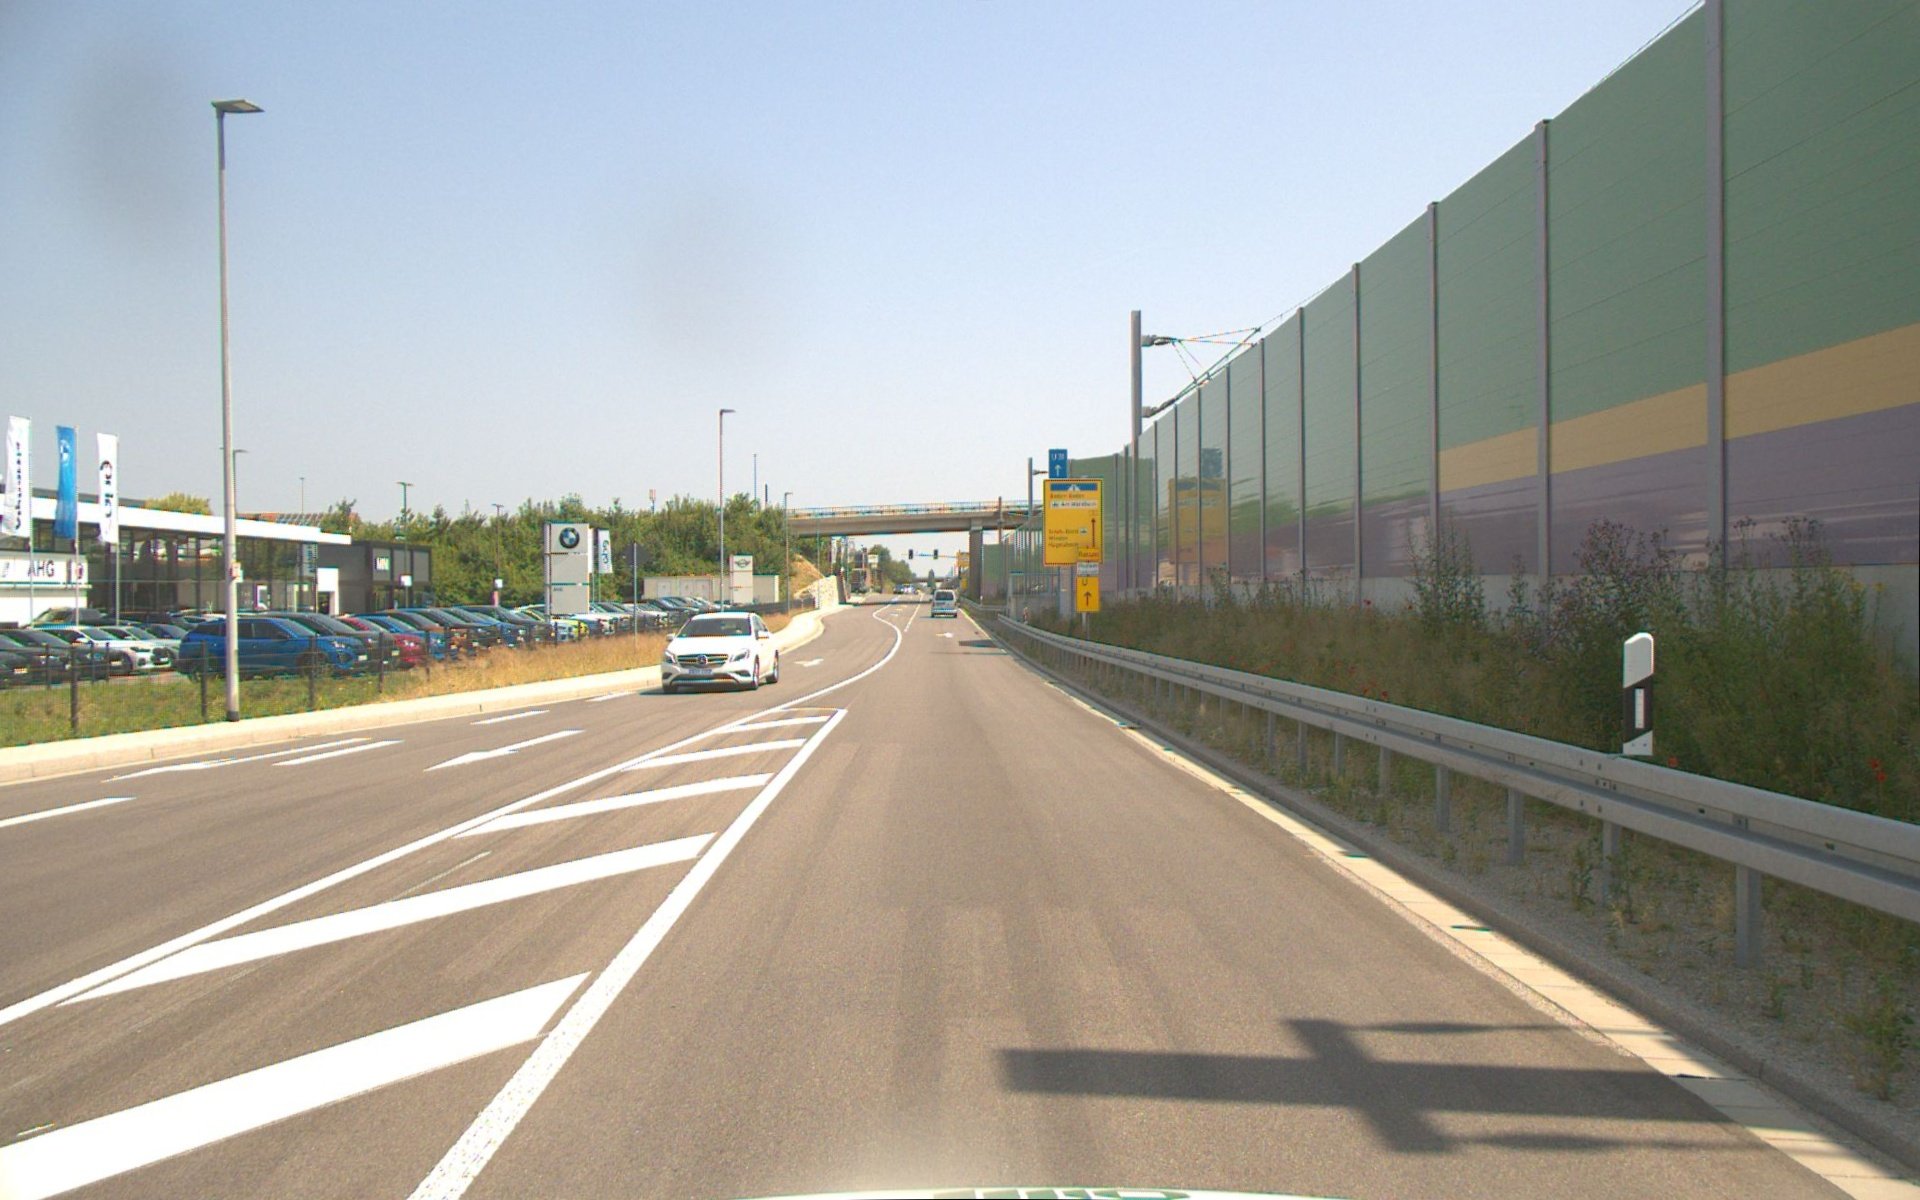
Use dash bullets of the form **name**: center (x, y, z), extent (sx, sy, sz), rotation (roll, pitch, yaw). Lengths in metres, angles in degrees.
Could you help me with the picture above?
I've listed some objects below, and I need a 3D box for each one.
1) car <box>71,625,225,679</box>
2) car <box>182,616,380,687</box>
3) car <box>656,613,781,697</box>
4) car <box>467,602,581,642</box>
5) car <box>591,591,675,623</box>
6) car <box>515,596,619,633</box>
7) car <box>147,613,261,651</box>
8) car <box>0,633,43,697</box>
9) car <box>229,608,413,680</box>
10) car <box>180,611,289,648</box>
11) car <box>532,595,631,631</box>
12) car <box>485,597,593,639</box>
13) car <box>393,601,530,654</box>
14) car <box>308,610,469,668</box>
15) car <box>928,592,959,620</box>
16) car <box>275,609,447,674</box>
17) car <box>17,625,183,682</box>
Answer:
- **car**: center (-25.618, 1.612, 52.265), extent (3.907, 1.520, 1.814), rotation (-1, 1, -3)
- **car**: center (-16.143, 1.214, 39.472), extent (3.907, 1.506, 1.910), rotation (-1, 1, -3)
- **car**: center (-4.553, 1.006, 31.700), extent (1.744, 1.440, 4.050), rotation (-1, 0, 1)
- **car**: center (-16.926, 0.845, 64.342), extent (3.905, 1.415, 1.879), rotation (-1, 1, 0)
- **car**: center (-17.494, 0.346, 88.639), extent (4.079, 1.572, 1.815), rotation (-1, 1, -1)
- **car**: center (-17.240, 0.637, 72.665), extent (4.079, 1.492, 1.815), rotation (-1, 1, -1)
- **car**: center (-32.862, 1.378, 72.001), extent (4.079, 1.492, 1.815), rotation (-1, 1, -1)
- **car**: center (-25.497, 1.654, 41.506), extent (3.907, 1.506, 1.814), rotation (-1, 1, -3)
- **car**: center (-16.152, 1.089, 41.952), extent (3.907, 1.664, 1.814), rotation (-1, 1, -3)
- **car**: center (-32.688, 1.326, 74.612), extent (4.079, 1.492, 1.815), rotation (-1, 1, -1)
- **car**: center (-17.230, 0.585, 75.463), extent (4.079, 1.492, 1.815), rotation (-1, 1, -1)
- **car**: center (-17.073, 0.735, 67.184), extent (3.906, 1.561, 1.815), rotation (-1, 1, -1)
- **car**: center (-16.370, 0.893, 54.510), extent (3.907, 1.561, 1.971), rotation (-1, 1, -3)
- **car**: center (-16.143, 1.092, 46.858), extent (3.907, 1.470, 1.785), rotation (-1, 1, -3)
- **car**: center (-1.072, 0.404, 110.031), extent (1.952, 1.788, 4.000), rotation (-1, 1, 1)
- **car**: center (-16.034, 1.093, 44.420), extent (3.907, 1.555, 1.814), rotation (-1, 1, -3)
- **car**: center (-25.539, 1.568, 49.211), extent (3.907, 1.520, 1.814), rotation (-1, 1, -3)
